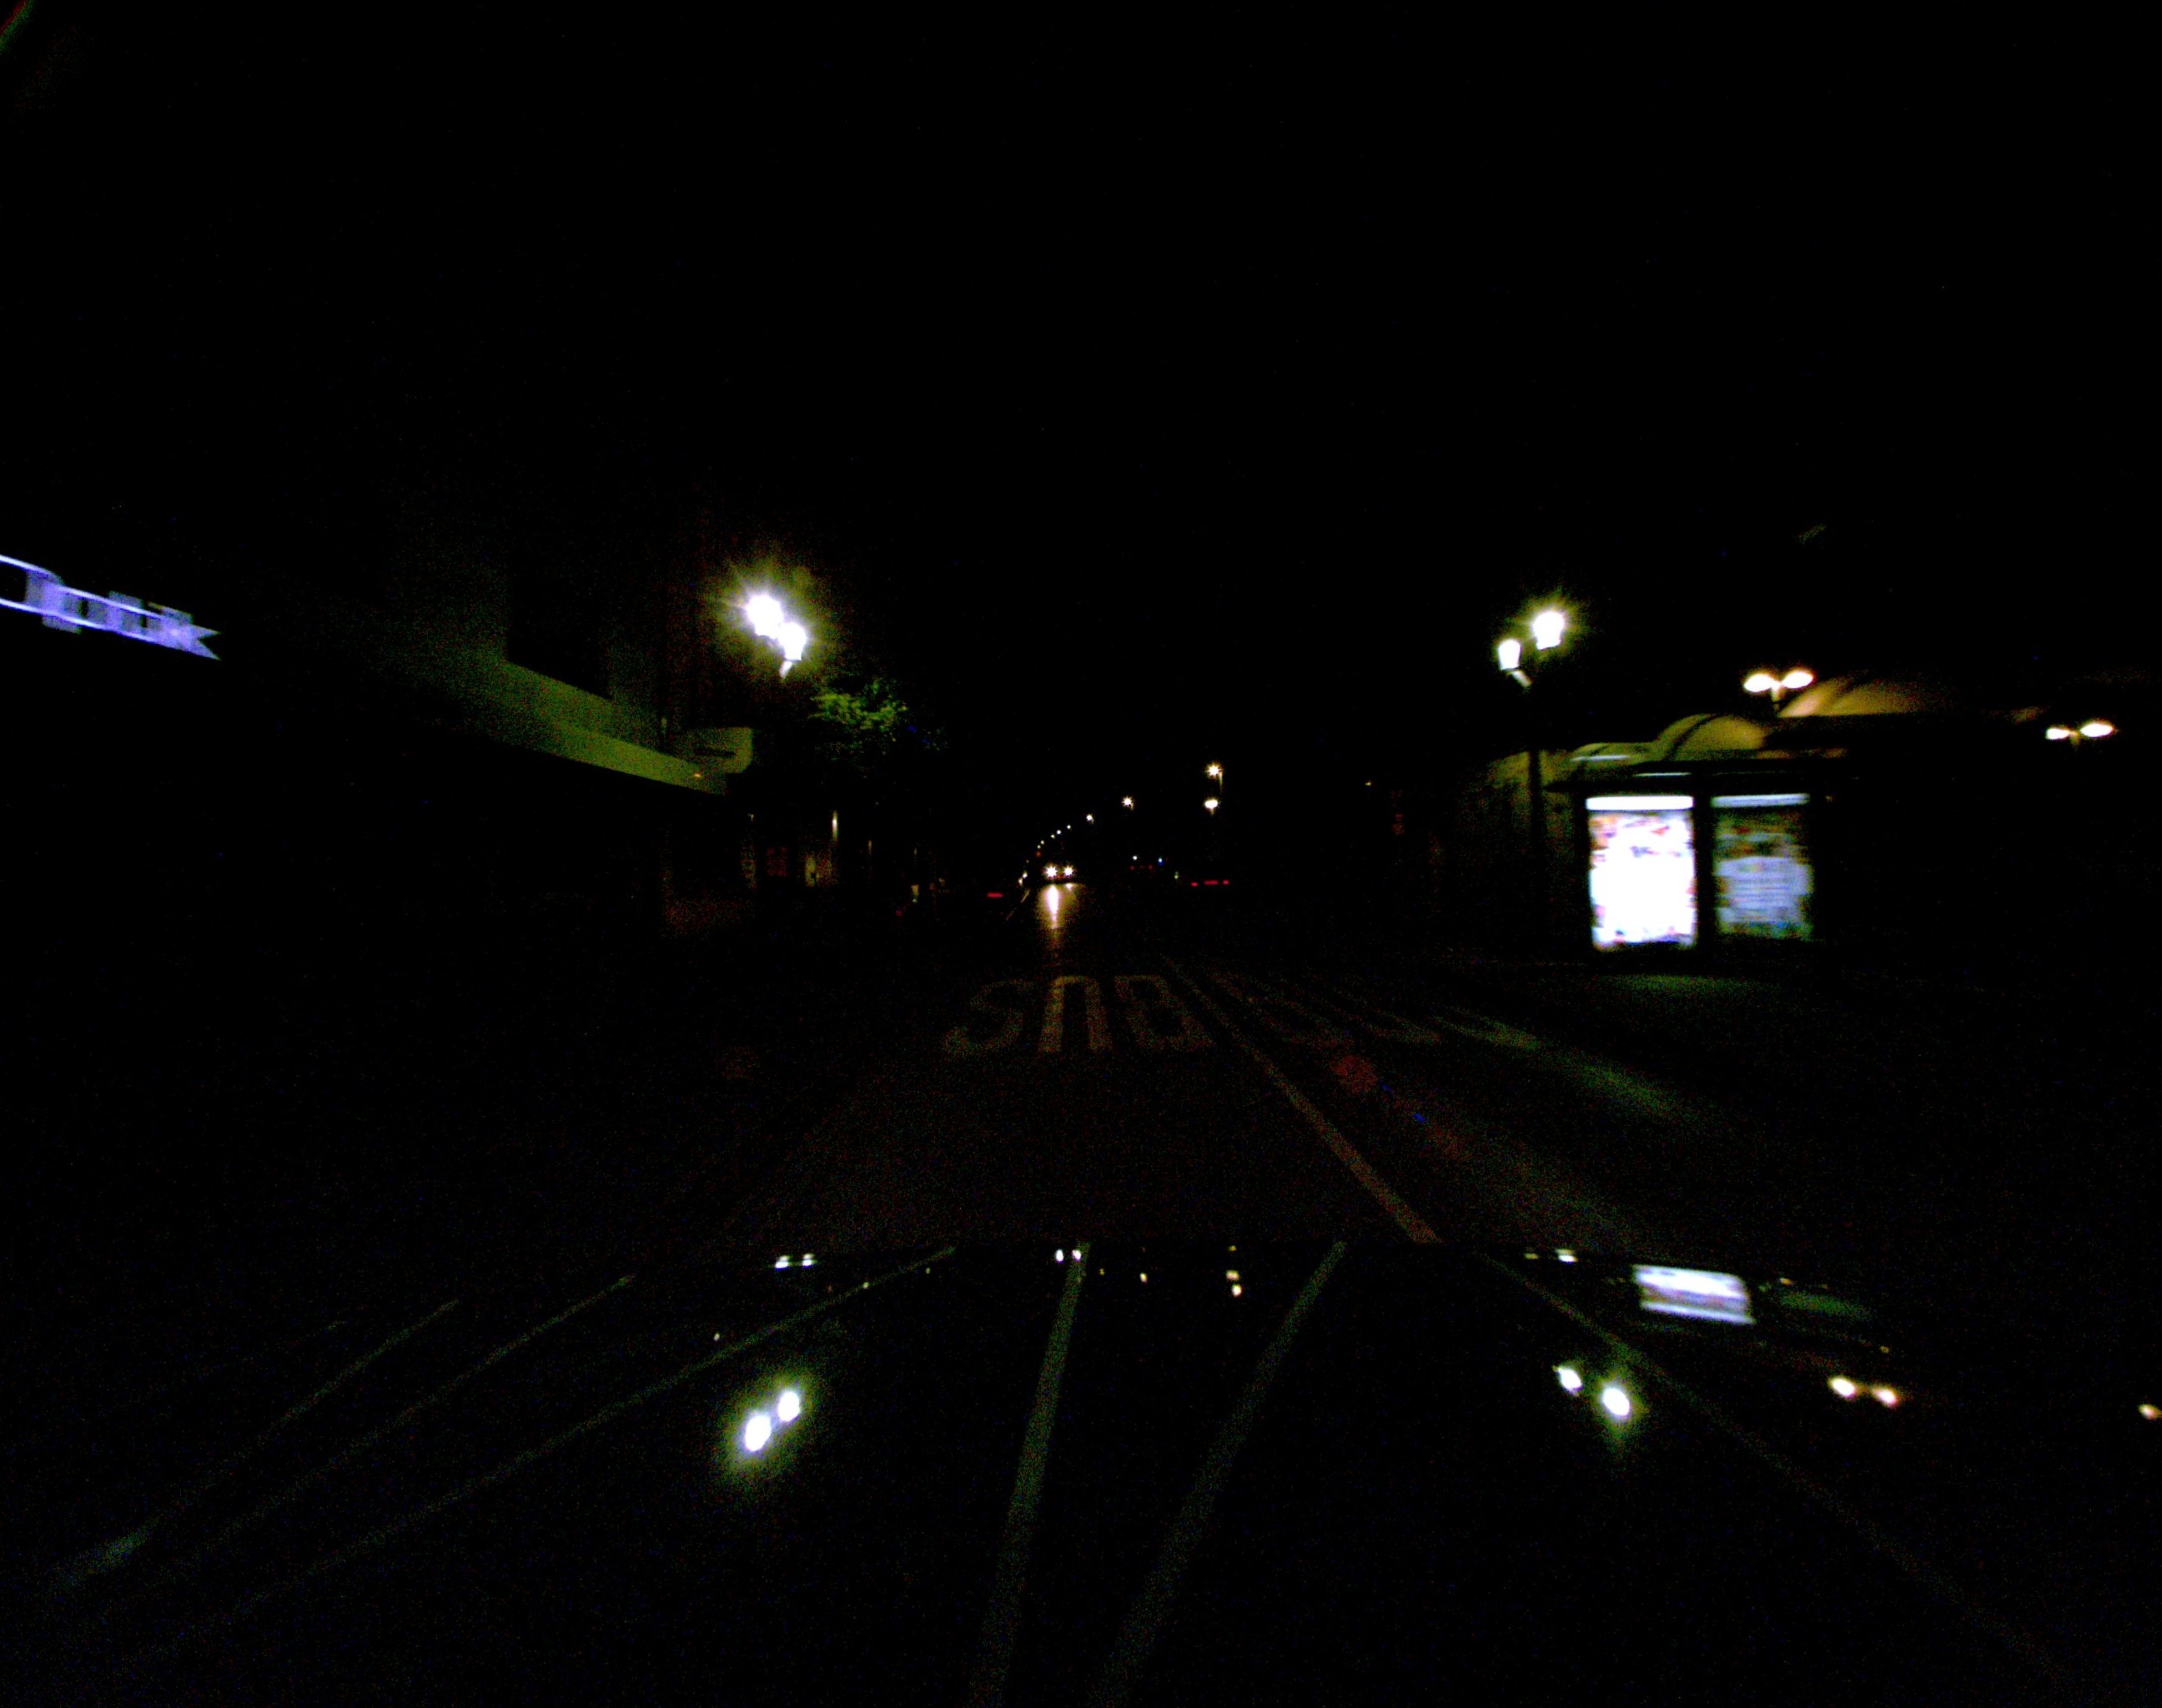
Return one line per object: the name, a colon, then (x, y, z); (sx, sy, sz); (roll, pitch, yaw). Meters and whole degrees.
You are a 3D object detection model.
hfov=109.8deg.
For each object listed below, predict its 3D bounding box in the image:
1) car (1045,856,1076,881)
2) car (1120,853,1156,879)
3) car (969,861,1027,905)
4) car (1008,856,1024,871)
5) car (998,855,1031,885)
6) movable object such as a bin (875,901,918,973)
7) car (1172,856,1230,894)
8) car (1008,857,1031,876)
car: (-1.363, 0.918, 49.430); (1.628, 1.496, 3.548); (-2, 1, -6)
car: (3.741, 0.749, 50.086); (1.697, 1.515, 3.688); (-2, 2, -6)
car: (-2.995, 1.007, 28.223); (1.863, 1.434, 4.592); (0, 0, -3)
car: (-6.928, 0.945, 81.077); (1.643, 1.458, 3.774); (-3, 1, -5)
car: (-3.844, 0.908, 44.605); (1.792, 1.632, 4.378); (0, 0, -4)
movable object such as a bin: (-2.633, 1.176, 10.906); (0.525, 0.932, 0.629); (-2, 2, -11)
car: (5.063, 0.844, 32.542); (1.696, 1.428, 4.127); (-3, 0, -2)
car: (-5.228, 1.023, 64.766); (1.681, 1.439, 4.610); (-3, 1, -2)
